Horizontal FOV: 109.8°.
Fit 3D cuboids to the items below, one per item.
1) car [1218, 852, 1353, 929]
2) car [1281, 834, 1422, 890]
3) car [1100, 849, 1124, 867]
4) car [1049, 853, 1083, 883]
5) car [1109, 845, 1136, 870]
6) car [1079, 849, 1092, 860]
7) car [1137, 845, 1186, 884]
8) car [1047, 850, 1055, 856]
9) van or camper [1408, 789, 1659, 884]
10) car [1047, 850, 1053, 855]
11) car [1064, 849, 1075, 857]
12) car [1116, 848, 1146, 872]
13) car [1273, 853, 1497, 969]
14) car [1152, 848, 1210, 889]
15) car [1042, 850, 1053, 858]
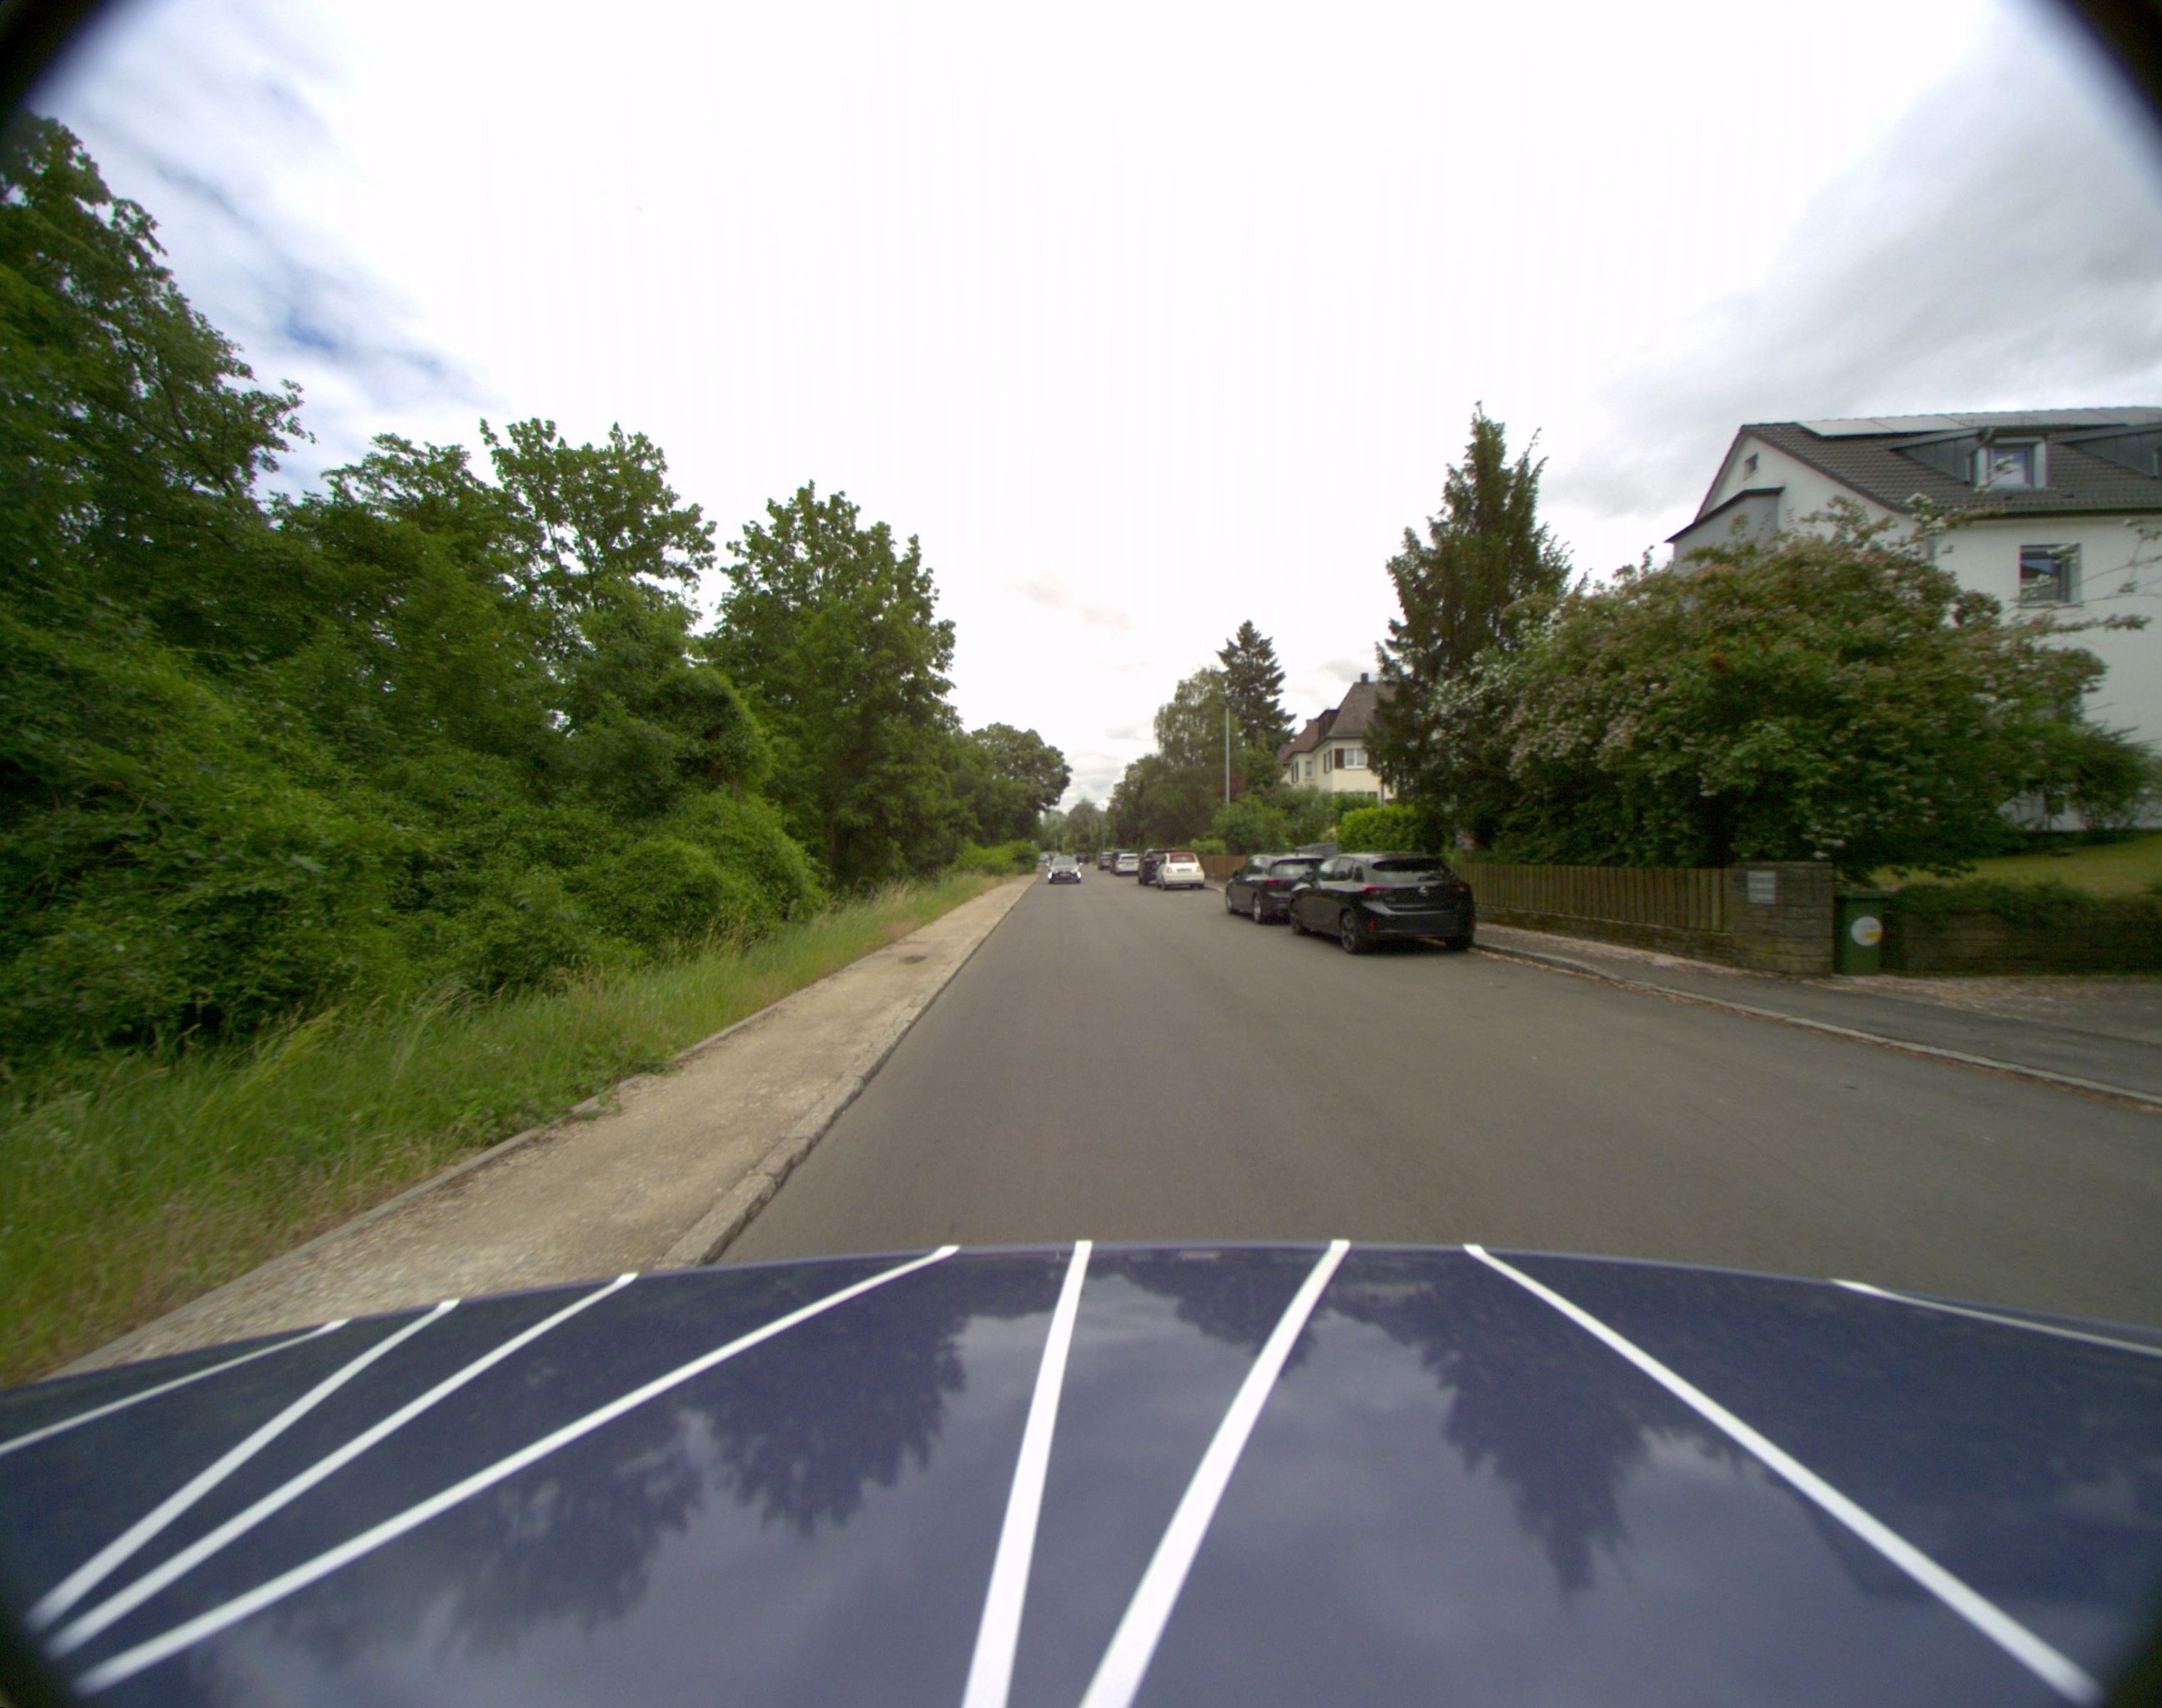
[{"bbox_3d":[4.318,0.703,16.705,1.711,1.408,4.148,-2,0,-2],"label":"car"},{"bbox_3d":[8.493,0.257,24.186,3.993,1.538,1.843,-3,0,13],"label":"car"},{"bbox_3d":[2.825,0.359,70.457,1.800,1.598,4.729,-2,0,-2],"label":"car"},{"bbox_3d":[-0.808,0.725,41.538,1.711,1.466,4.194,-2,0,-1],"label":"car"},{"bbox_3d":[3.115,0.225,57.487,1.711,1.789,4.297,-2,0,-1],"label":"car"},{"bbox_3d":[0.618,0.090,119.701,1.922,1.670,4.194,-2,0,-1],"label":"car"},{"bbox_3d":[3.721,0.436,35.861,1.796,1.654,4.391,-2,0,0],"label":"car"},{"bbox_3d":[-7.598,-0.269,193.925,1.923,1.670,4.193,-2,0,-4],"label":"car"},{"bbox_3d":[14.757,-0.545,25.226,6.692,2.635,2.325,-3,1,8],"label":"van or camper"},{"bbox_3d":[-10.204,-0.573,249.348,1.923,1.670,4.193,-2,0,-4],"label":"car"},{"bbox_3d":[-2.423,-0.188,156.120,1.923,1.670,4.193,-2,0,-4],"label":"car"},{"bbox_3d":[3.320,0.388,51.501,1.711,1.502,4.554,-2,0,0],"label":"car"},{"bbox_3d":[4.444,0.727,11.849,1.711,1.408,4.131,-2,0,-2],"label":"car"},{"bbox_3d":[4.051,0.556,31.401,1.711,1.502,3.945,-2,0,-2],"label":"car"},{"bbox_3d":[-6.775,-0.005,153.067,1.923,1.670,4.192,-2,0,-6],"label":"car"}]
